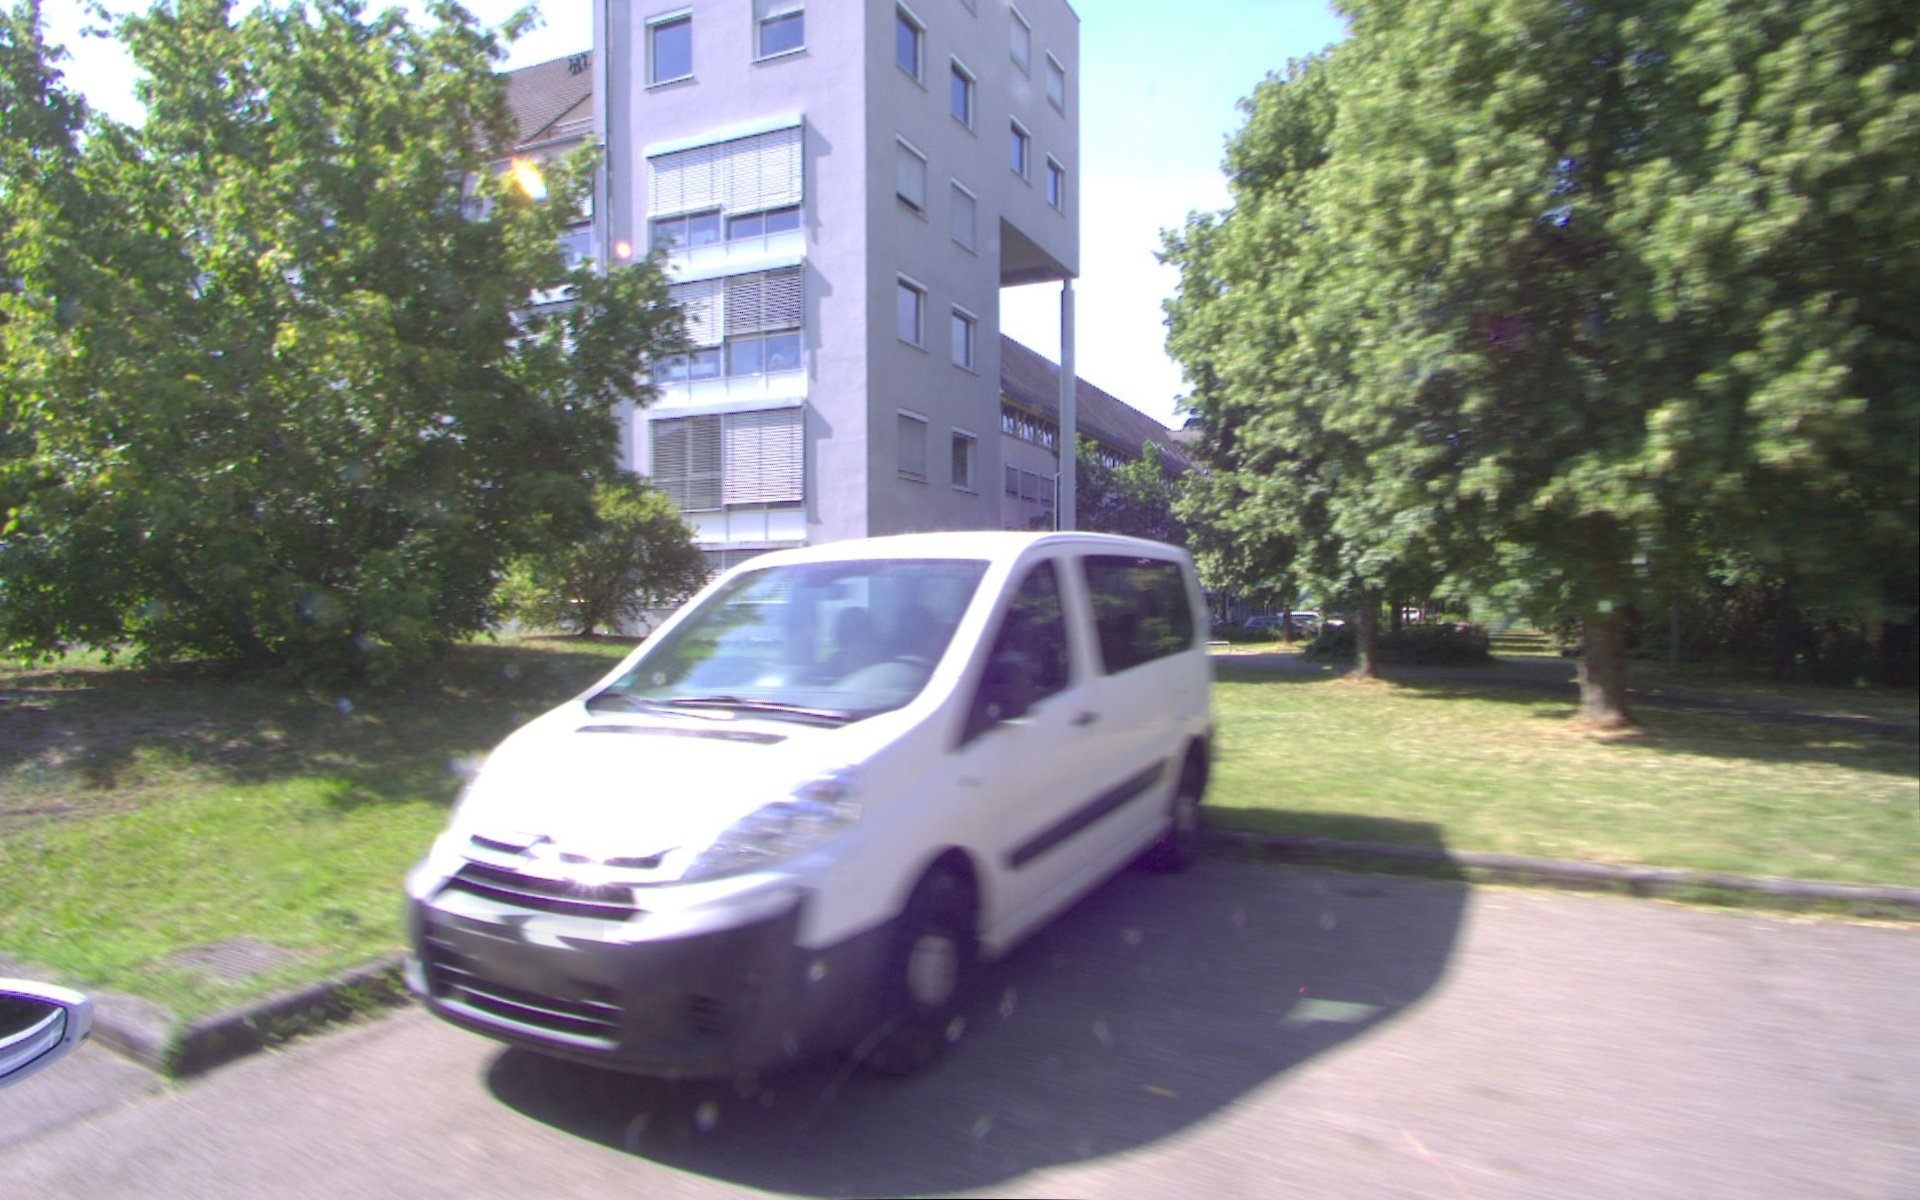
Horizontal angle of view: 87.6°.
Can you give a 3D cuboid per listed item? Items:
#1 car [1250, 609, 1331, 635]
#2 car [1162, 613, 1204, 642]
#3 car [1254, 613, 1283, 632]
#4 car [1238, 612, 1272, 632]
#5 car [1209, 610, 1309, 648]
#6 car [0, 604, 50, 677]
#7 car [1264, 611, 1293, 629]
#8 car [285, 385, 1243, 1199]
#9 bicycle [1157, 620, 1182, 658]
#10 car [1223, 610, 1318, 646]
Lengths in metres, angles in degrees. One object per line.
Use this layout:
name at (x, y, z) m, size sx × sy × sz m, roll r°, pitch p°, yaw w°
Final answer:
car at (20.645, 1.353, 62.586) m, size 4.486 × 1.568 × 1.764 m, roll 0°, pitch 0°, yaw 33°
car at (13.781, 1.673, 61.786) m, size 1.830 × 1.617 × 3.988 m, roll 1°, pitch 1°, yaw 23°
car at (29.249, 2.112, 94.928) m, size 1.969 × 1.617 × 3.983 m, roll 1°, pitch 1°, yaw 28°
car at (25.182, 1.860, 85.481) m, size 1.865 × 1.639 × 4.289 m, roll 0°, pitch 0°, yaw 29°
car at (14.668, 1.385, 49.195) m, size 4.371 × 1.662 × 1.990 m, roll 1°, pitch 1°, yaw 30°
car at (-20.421, 0.812, 19.230) m, size 1.782 × 1.446 × 3.986 m, roll 0°, pitch 0°, yaw 25°
car at (31.537, 1.943, 99.109) m, size 1.969 × 1.783 × 4.573 m, roll 0°, pitch -1°, yaw 28°
car at (-0.172, 0.499, 5.030) m, size 1.969 × 1.958 × 5.018 m, roll 0°, pitch 0°, yaw 29°
bicycle at (6.154, 1.136, 29.363) m, size 0.388 × 1.063 × 1.445 m, roll 1°, pitch 0°, yaw 25°
car at (15.896, 1.411, 51.320) m, size 4.303 × 1.662 × 1.990 m, roll 1°, pitch 1°, yaw 30°
